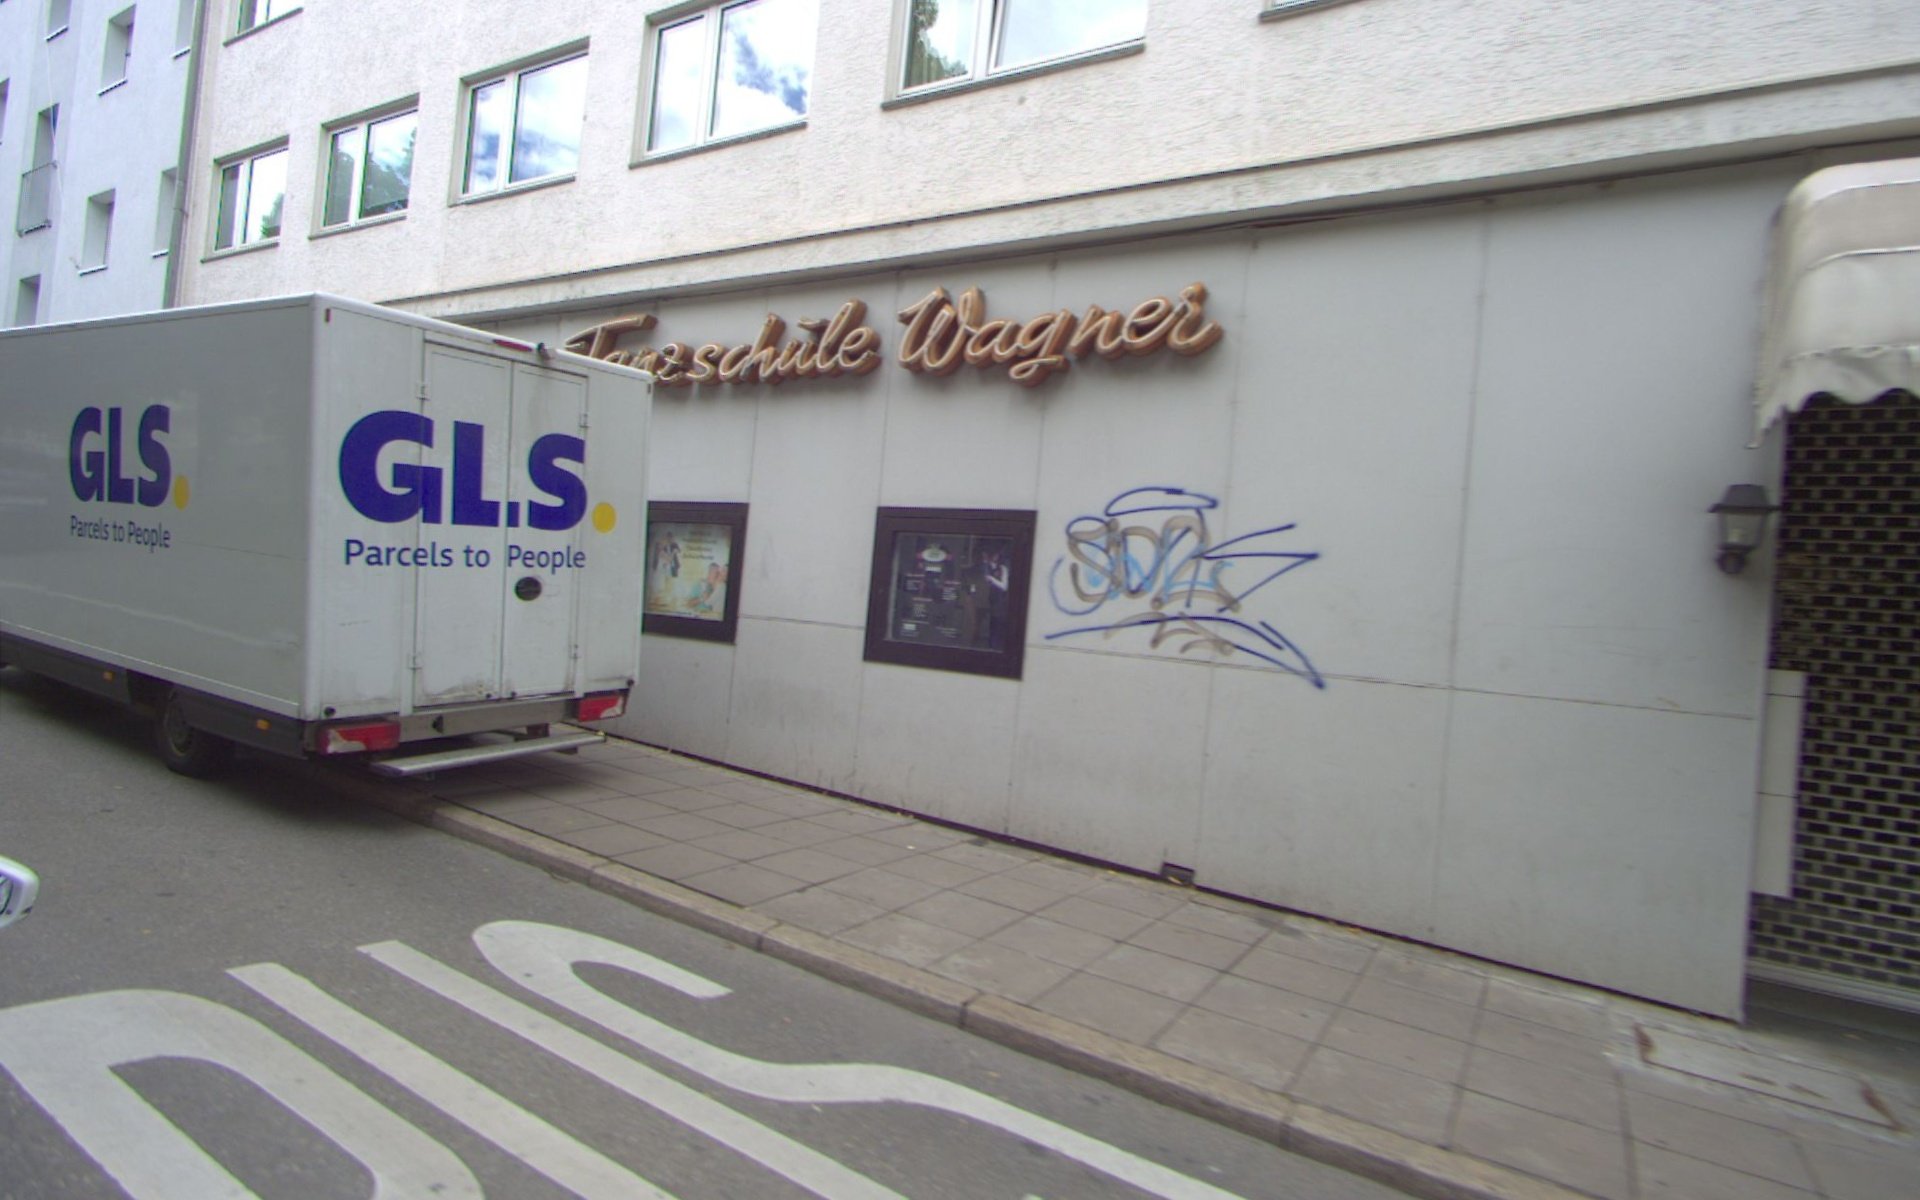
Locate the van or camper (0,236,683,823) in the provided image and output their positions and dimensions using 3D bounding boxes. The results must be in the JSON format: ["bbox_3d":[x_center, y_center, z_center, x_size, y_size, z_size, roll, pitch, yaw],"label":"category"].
[{"bbox_3d":[-5.696,-0.584,7.807,7.119,2.838,2.482,6,0,32],"label":"van or camper"}]
